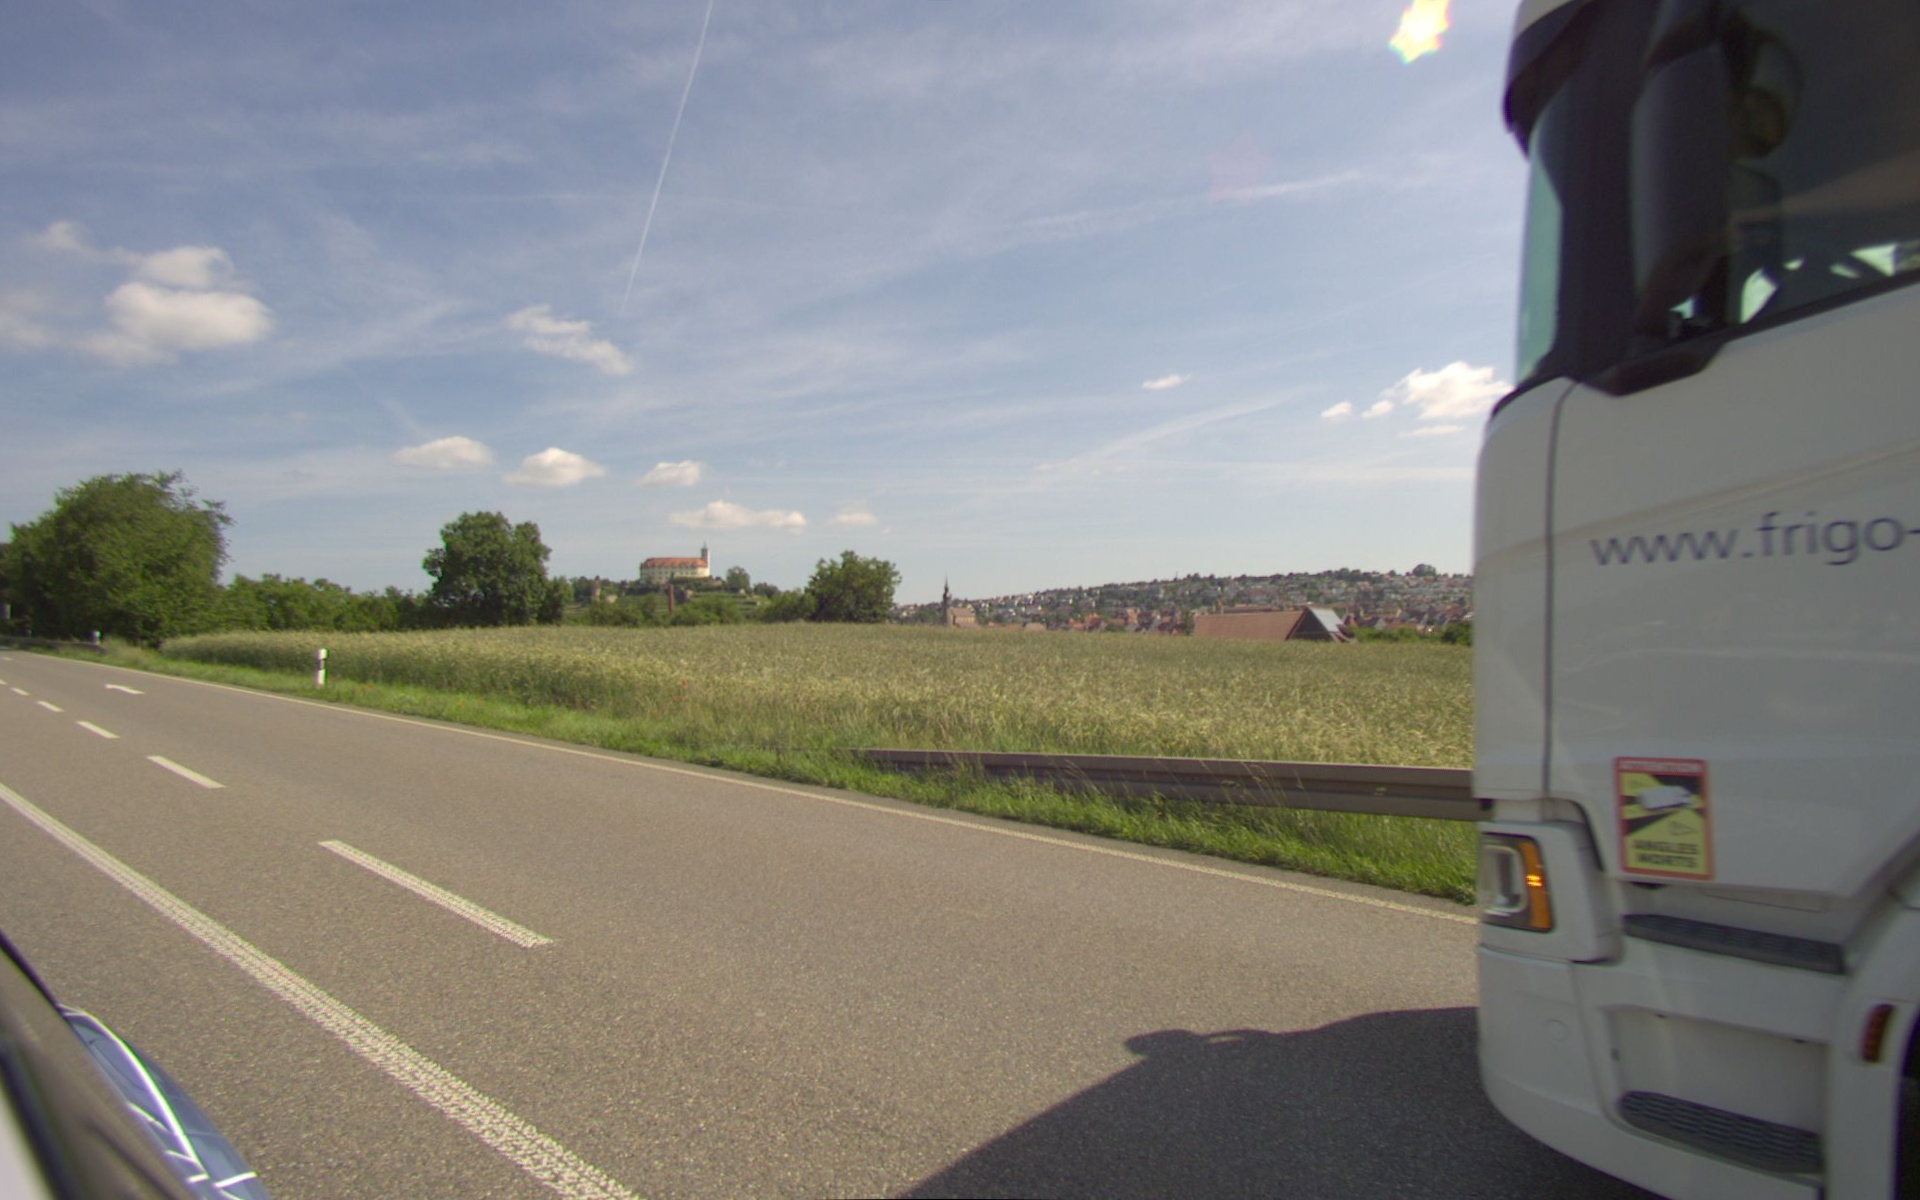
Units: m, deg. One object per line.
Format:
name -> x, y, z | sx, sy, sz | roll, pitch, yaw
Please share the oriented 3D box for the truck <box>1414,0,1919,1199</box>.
truck -> 4.099, -0.660, 1.222 | 6.021, 4.151, 2.502 | -1, -3, 43
